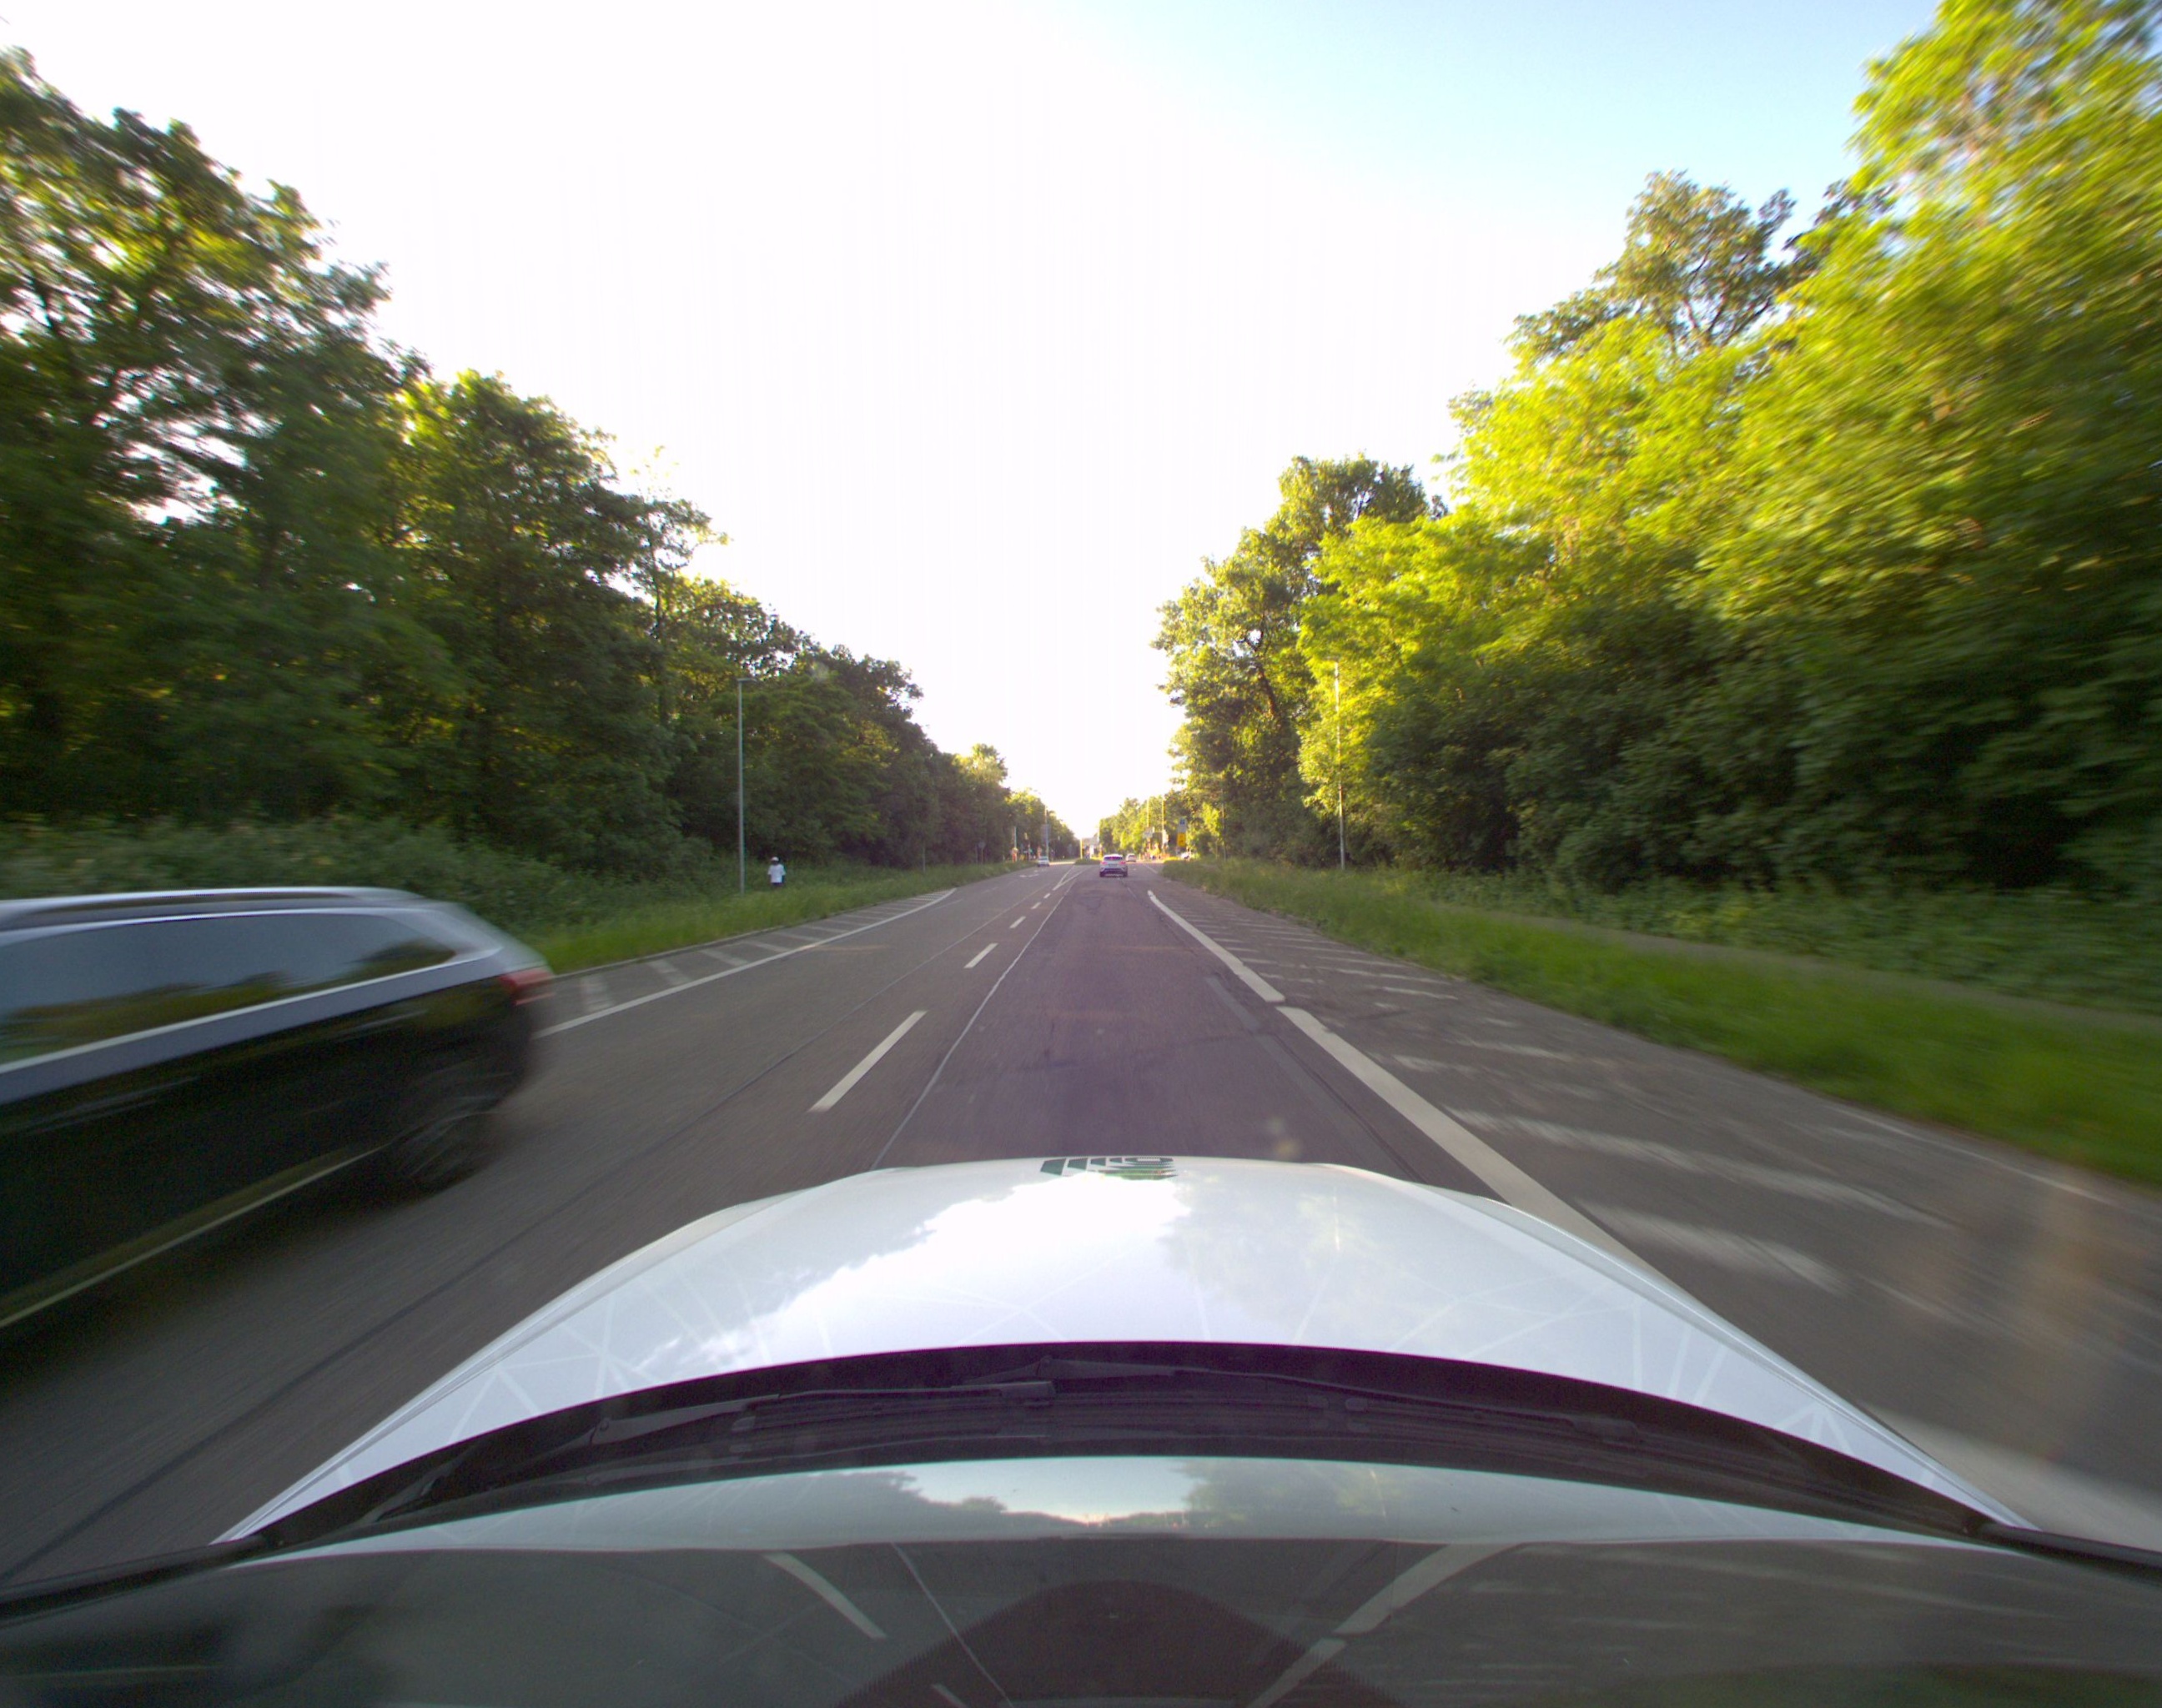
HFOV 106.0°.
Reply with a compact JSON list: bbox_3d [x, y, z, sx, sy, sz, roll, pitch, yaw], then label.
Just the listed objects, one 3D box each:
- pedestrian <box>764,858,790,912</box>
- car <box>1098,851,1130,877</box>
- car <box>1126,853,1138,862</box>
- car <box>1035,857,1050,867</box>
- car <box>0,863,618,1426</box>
[{"bbox_3d":[-11.434,1.166,30.656,0.691,2.013,0.713,0,0,1],"label":"pedestrian"},{"bbox_3d":[2.202,0.635,55.343,1.987,1.640,4.000,-2,0,1],"label":"car"},{"bbox_3d":[9.376,0.722,150.518,1.986,1.618,4.002,0,0,2],"label":"car"},{"bbox_3d":[-5.579,1.125,119.078,1.987,1.464,4.000,-1,0,1],"label":"car"},{"bbox_3d":[-3.768,0.829,2.681,1.672,1.490,4.691,-2,0,1],"label":"car"}]
